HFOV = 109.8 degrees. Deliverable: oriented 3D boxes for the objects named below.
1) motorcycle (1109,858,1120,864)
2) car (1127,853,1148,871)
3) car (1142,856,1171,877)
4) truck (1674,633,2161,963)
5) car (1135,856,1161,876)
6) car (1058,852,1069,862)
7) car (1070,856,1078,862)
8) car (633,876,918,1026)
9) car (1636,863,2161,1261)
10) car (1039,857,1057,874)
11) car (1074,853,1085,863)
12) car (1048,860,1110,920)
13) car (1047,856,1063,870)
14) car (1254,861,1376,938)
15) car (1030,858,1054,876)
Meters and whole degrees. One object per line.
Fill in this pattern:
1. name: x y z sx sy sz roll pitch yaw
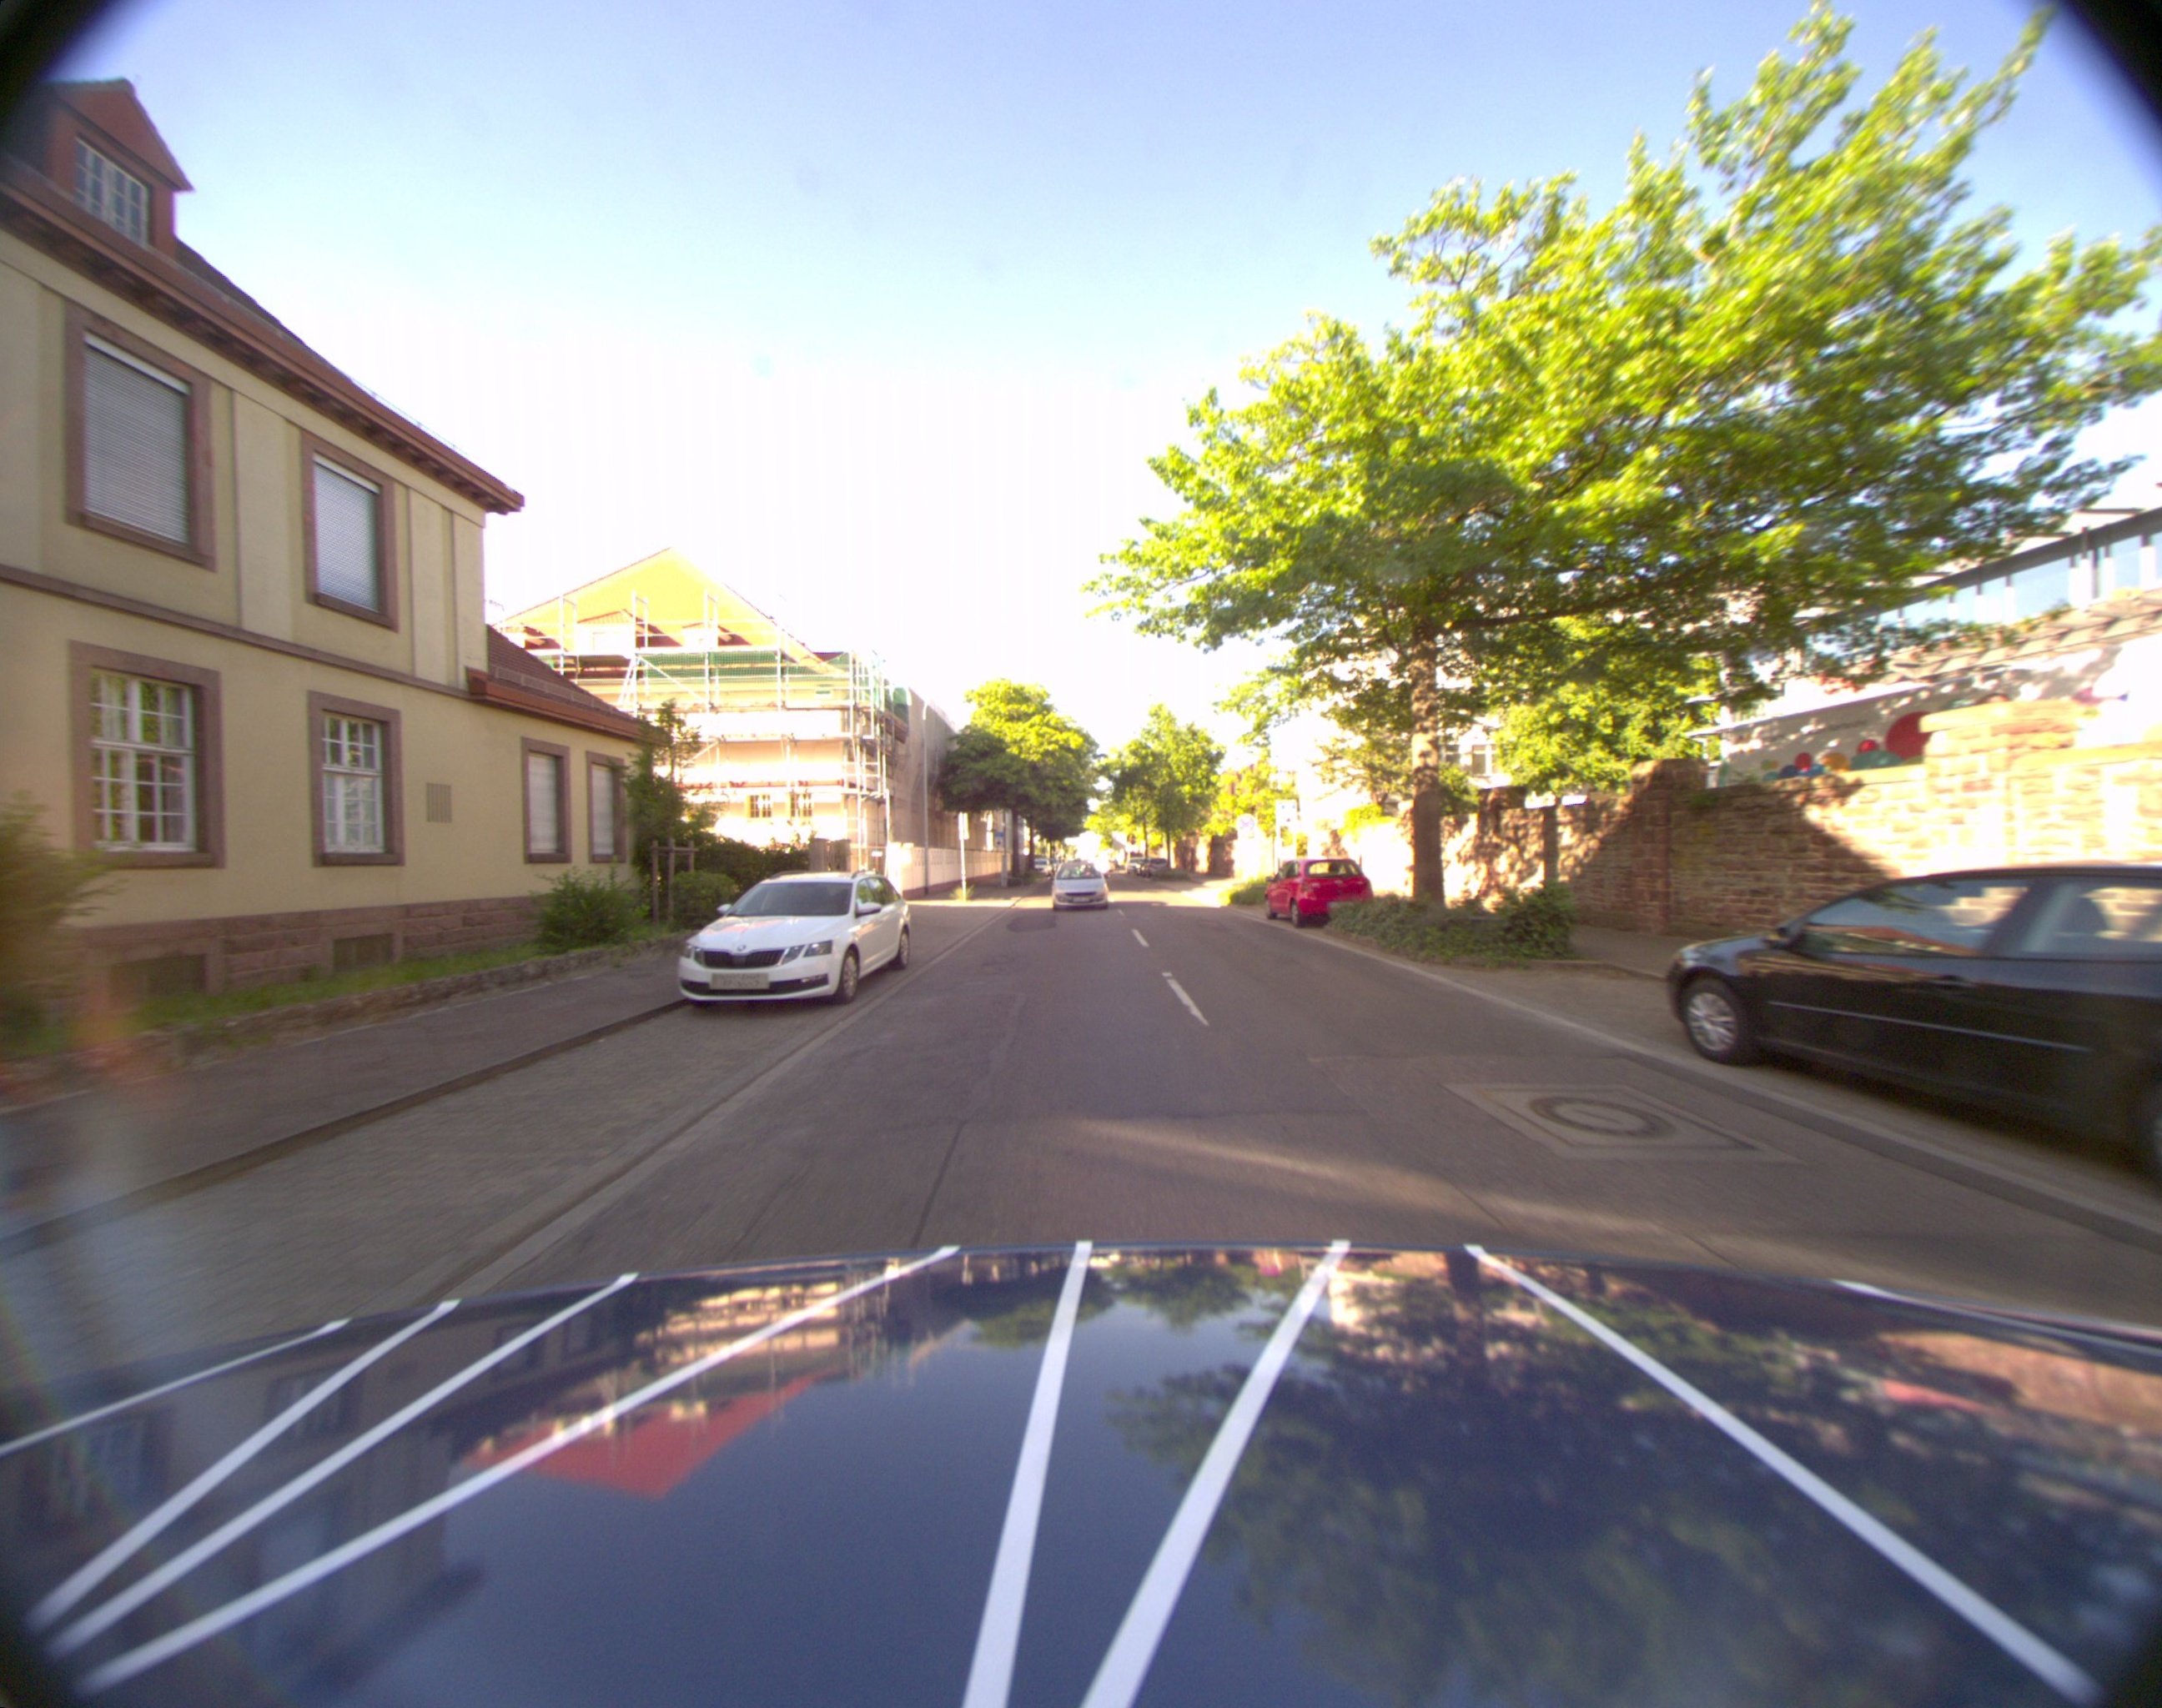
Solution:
1. motorcycle: 5.305 1.116 119.536 0.599 1.026 2.132 -1 0 34
2. car: 5.376 0.810 72.763 1.681 1.502 3.850 -4 -2 0
3. car: 5.553 0.923 56.111 1.691 1.413 3.838 -3 0 0
4. truck: 13.441 -0.684 11.640 2.739 3.689 7.427 -3 0 0
5. car: 5.355 0.970 61.181 1.578 1.506 4.044 -2 0 -1
6. car: -3.209 0.553 140.886 1.887 1.592 4.298 -3 0 0
7. car: -1.569 1.146 179.475 1.757 1.459 3.485 -3 0 -1
8. car: -3.458 1.012 9.656 1.837 1.315 4.495 0 0 -1
9. car: 5.372 0.881 4.143 1.741 1.583 4.107 -1 0 1
10. car: -3.255 1.131 75.318 1.717 1.628 4.302 -1 0 -2
11. car: -0.249 0.672 136.802 1.834 1.732 3.999 -3 0 -1
12. car: -0.012 1.061 24.211 1.748 1.613 4.106 -3 0 1
13. car: -3.074 1.020 91.216 1.797 1.606 4.126 -2 0 -2
14. car: 5.226 0.950 17.443 1.613 1.450 3.708 -3 0 0
15. car: -3.351 1.117 66.157 1.727 1.501 3.993 0 0 3
